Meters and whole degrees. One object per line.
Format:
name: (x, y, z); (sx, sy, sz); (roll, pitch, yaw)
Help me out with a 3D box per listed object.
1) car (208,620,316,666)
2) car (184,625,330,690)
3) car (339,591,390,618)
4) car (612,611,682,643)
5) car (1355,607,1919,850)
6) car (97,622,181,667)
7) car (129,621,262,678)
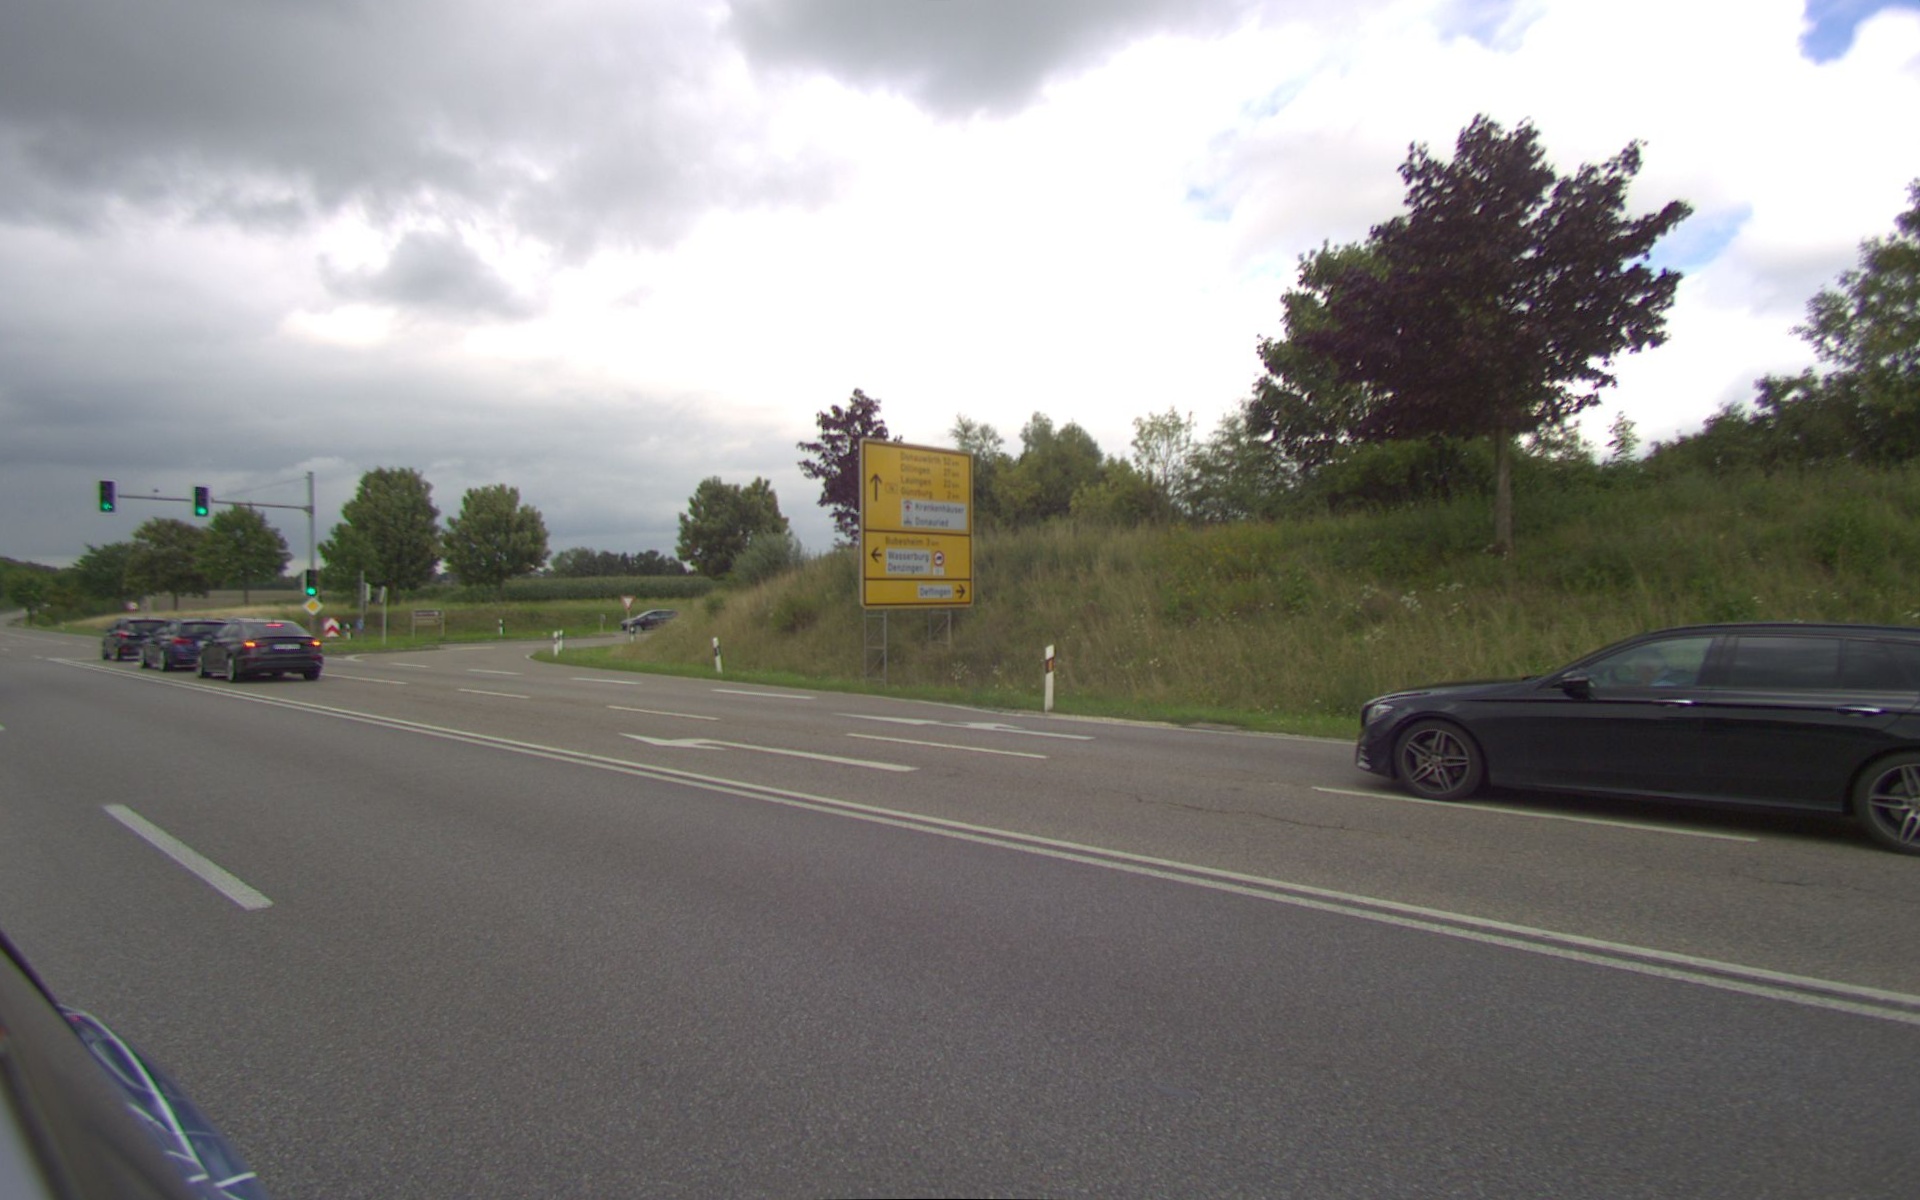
car: (-25.742, 1.534, 37.263); (5.123, 1.546, 2.024); (-1, -1, 40)
car: (-16.801, 1.298, 24.110); (4.540, 1.394, 1.747); (-1, -1, 40)
car: (-47.351, 0.329, 80.486); (3.991, 2.029, 1.976); (-1, 0, 35)
car: (-20.633, 1.783, 66.750); (1.999, 2.029, 3.945); (-1, -2, 41)
car: (5.864, 0.826, 7.677); (4.990, 1.505, 1.973); (-1, -2, 41)
car: (-28.114, 1.486, 34.613); (3.944, 1.454, 1.707); (-1, -2, 43)
car: (-21.703, 1.355, 28.657); (4.879, 1.495, 2.027); (-1, -3, 41)
